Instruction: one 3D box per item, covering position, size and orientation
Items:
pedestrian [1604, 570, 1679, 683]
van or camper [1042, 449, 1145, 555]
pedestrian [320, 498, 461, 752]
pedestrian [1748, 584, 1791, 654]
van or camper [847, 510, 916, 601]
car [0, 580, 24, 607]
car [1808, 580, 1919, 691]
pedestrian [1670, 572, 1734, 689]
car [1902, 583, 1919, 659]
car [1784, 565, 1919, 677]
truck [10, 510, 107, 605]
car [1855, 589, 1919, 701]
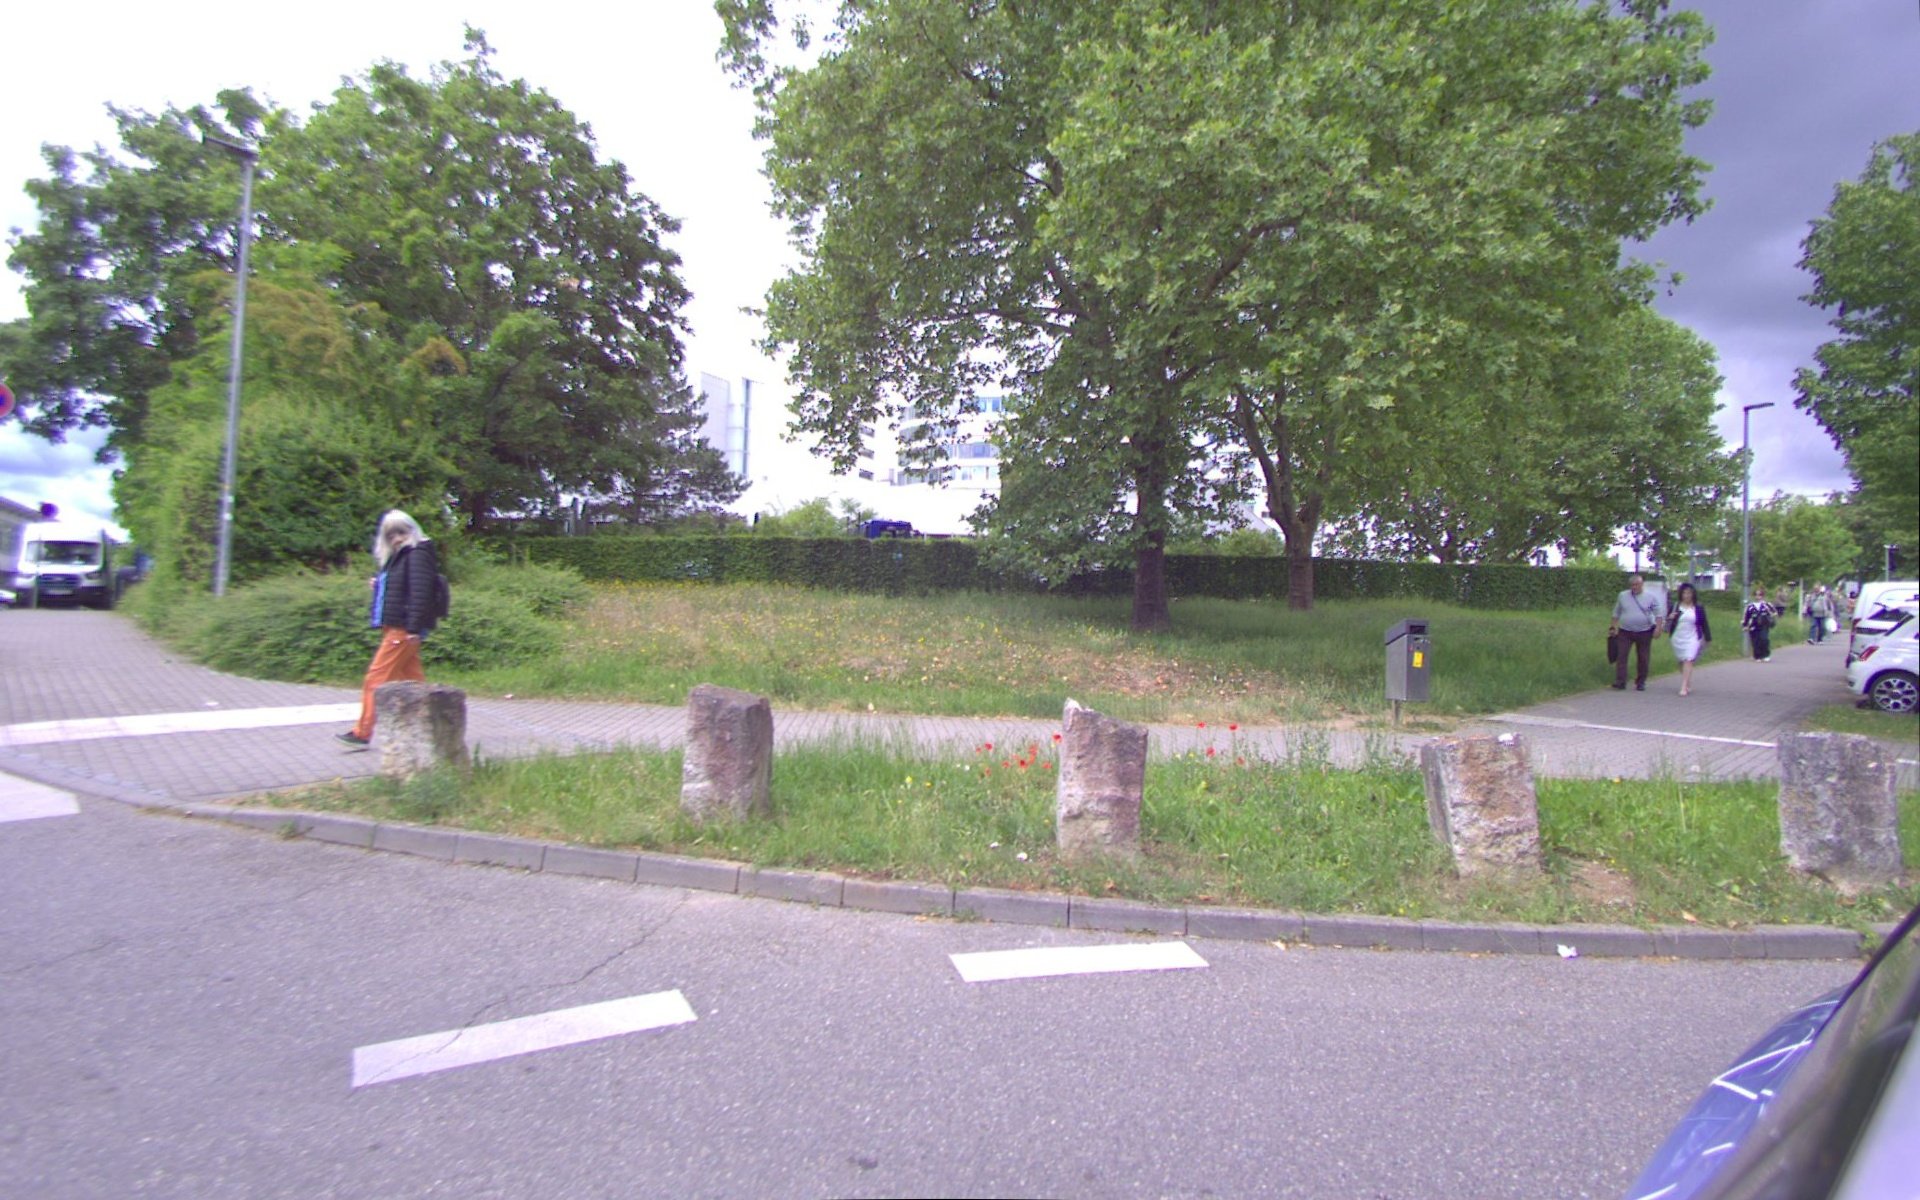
[{"bbox_3d":[10.490,0.386,15.586,0.583,1.678,0.870,1,0,-44],"label":"pedestrian"},{"bbox_3d":[4.010,-2.895,31.125,2.072,2.833,4.486,0,0,-7],"label":"van or camper"},{"bbox_3d":[-4.053,0.164,7.197,0.824,1.686,0.615,1,0,-33],"label":"pedestrian"},{"bbox_3d":[17.984,0.408,22.480,0.676,1.538,0.695,0,0,44],"label":"pedestrian"},{"bbox_3d":[-2.686,-1.392,33.669,2.072,2.833,4.486,0,0,-7],"label":"van or camper"},{"bbox_3d":[-57.385,-0.385,59.196,3.707,1.500,1.642,0,3,-37],"label":"car"},{"bbox_3d":[15.527,0.585,15.165,1.710,1.622,4.154,0,2,-44],"label":"car"},{"bbox_3d":[11.020,0.436,15.034,0.590,1.678,0.689,1,0,-45],"label":"pedestrian"},{"bbox_3d":[21.595,0.513,20.296,1.880,1.538,3.829,0,3,-44],"label":"car"},{"bbox_3d":[17.393,0.409,17.370,1.812,1.854,4.781,0,3,-43],"label":"car"},{"bbox_3d":[-27.338,-1.201,30.843,2.031,2.639,5.800,0,0,-40],"label":"truck"},{"bbox_3d":[14.317,0.688,13.400,1.710,1.479,3.517,0,3,-43],"label":"car"}]
